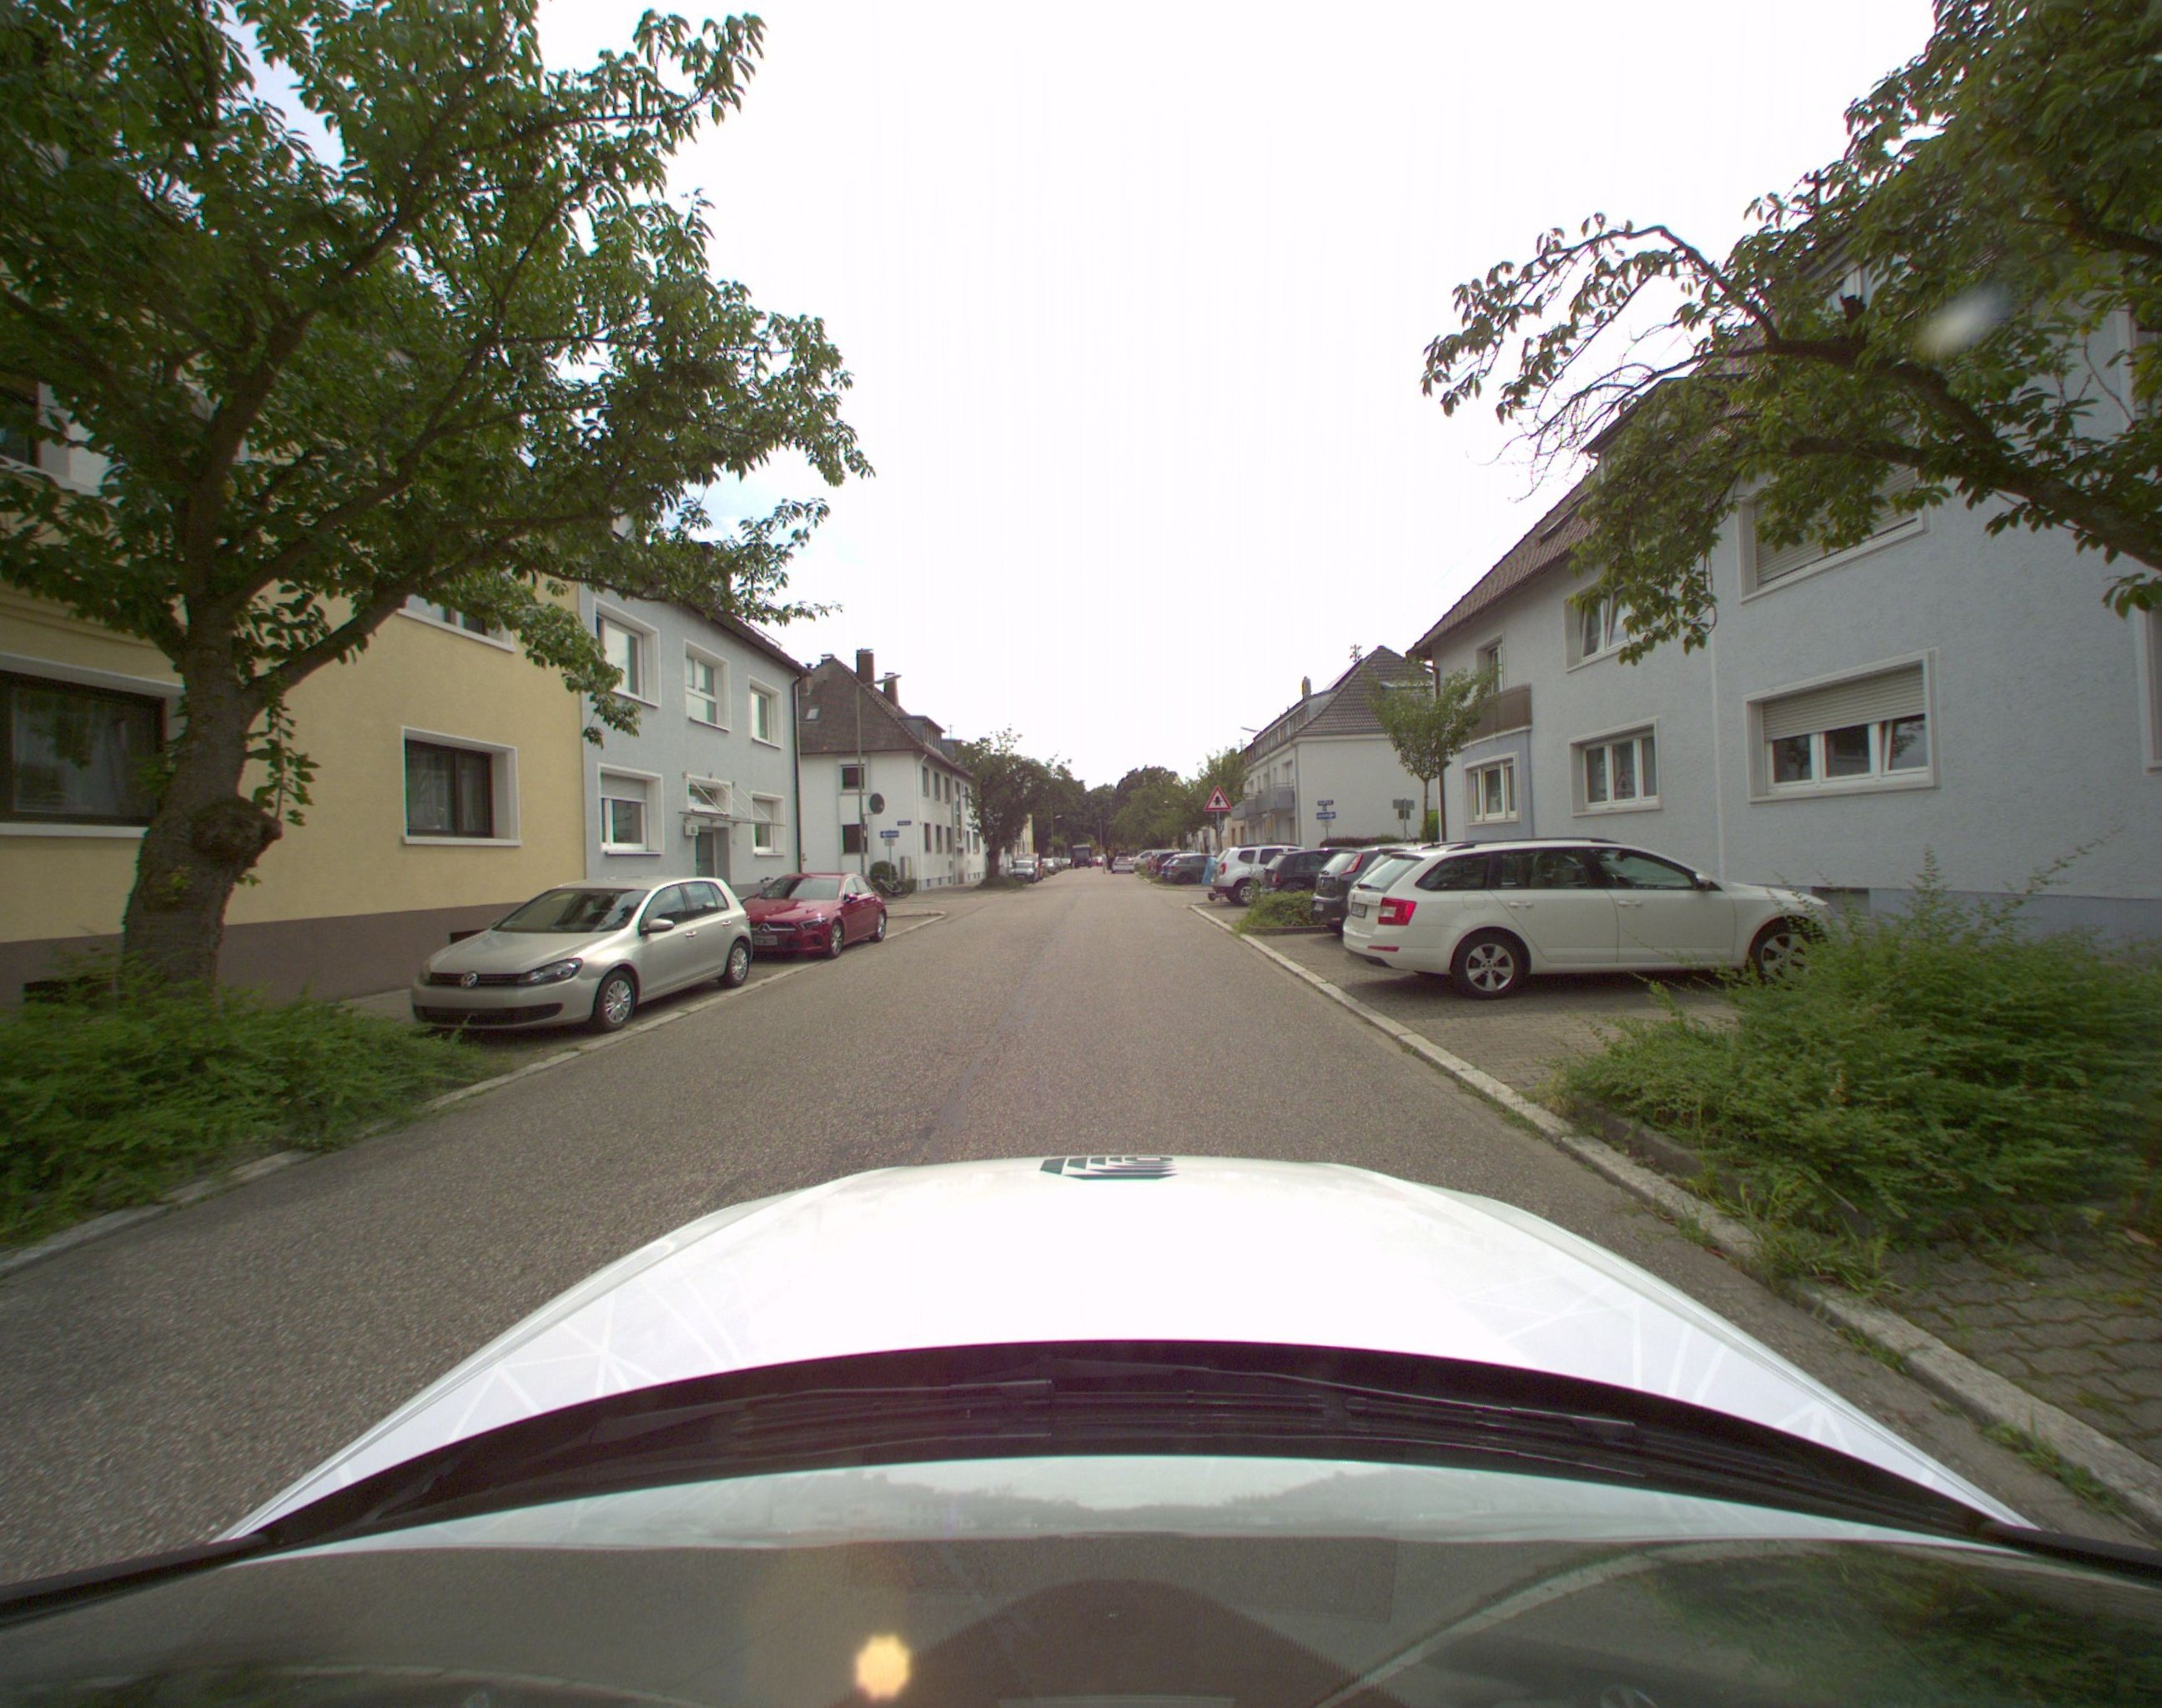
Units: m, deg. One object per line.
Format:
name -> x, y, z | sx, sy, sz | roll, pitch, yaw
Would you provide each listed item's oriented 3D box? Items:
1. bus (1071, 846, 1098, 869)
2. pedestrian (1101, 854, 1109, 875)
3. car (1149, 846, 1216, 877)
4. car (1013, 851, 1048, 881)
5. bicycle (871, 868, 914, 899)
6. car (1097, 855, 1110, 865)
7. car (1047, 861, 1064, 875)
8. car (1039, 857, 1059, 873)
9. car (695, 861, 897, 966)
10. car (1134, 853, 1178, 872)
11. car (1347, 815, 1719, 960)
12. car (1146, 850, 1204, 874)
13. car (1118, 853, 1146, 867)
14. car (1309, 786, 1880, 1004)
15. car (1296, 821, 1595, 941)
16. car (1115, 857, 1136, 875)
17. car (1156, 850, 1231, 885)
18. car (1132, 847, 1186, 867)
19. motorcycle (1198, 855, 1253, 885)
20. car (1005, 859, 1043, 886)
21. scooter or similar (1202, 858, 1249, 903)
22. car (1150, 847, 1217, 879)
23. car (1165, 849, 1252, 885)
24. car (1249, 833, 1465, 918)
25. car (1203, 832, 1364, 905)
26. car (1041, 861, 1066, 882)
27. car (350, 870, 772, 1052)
bus -> 0.534, 0.438, 109.942 | 2.992, 2.761, 8.930 | -4, 0, 3
pedestrian -> 2.065, 0.907, 69.395 | 0.519, 1.704, 0.445 | -4, -1, 5
car -> 6.308, 0.488, 51.086 | 3.971, 1.618, 1.868 | -4, 0, 2
car -> -3.593, 0.859, 58.563 | 1.986, 2.013, 4.522 | -2, 0, 1
bicycle -> -7.937, 1.221, 34.258 | 1.629, 1.179, 0.435 | -4, -1, -3
car -> 3.239, 0.887, 117.064 | 1.747, 1.342, 4.003 | -3, 0, 3
car -> -2.512, 1.359, 81.202 | 1.534, 1.301, 3.720 | -4, 0, 0
car -> -2.996, 1.021, 76.151 | 1.646, 1.377, 3.720 | -4, 0, 0
car -> -4.952, 0.950, 14.937 | 1.870, 1.486, 4.514 | -4, 0, 2
car -> 6.989, 0.805, 76.139 | 3.972, 1.518, 1.723 | -4, 0, 1
car -> 5.880, 0.419, 10.967 | 3.972, 1.508, 1.713 | -4, 0, 1
car -> 6.809, 0.577, 59.228 | 3.972, 1.438, 1.723 | -4, 0, 1
car -> 6.754, 0.817, 107.359 | 3.515, 1.602, 1.774 | -4, 0, 2
car -> 4.944, 0.386, 8.416 | 4.596, 1.664, 1.894 | -4, 0, 2
car -> 5.692, 0.407, 13.092 | 3.972, 1.508, 1.713 | -4, 0, 1
car -> 3.848, 1.025, 70.113 | 1.680, 1.354, 3.829 | -4, 0, 3
car -> 5.573, 0.661, 40.619 | 3.504, 1.412, 1.559 | -4, 0, 2
car -> 7.484, 0.278, 78.335 | 4.959, 1.518, 1.768 | -4, 0, 0
motorcycle -> 6.290, 0.677, 35.525 | 2.186, 1.210, 0.939 | -2, 0, -1
car -> -3.687, 1.157, 53.103 | 1.755, 1.554, 3.736 | -4, 0, 5
scooter or similar -> 4.391, 0.796, 24.739 | 1.239, 1.243, 0.420 | -4, -1, -11
car -> 6.056, 0.513, 48.336 | 3.732, 1.564, 1.774 | -4, 0, 2
car -> 5.891, 0.582, 37.949 | 3.732, 1.365, 1.774 | -4, 0, 2
car -> 5.790, 0.441, 17.434 | 3.972, 1.421, 1.713 | -4, 0, 1
car -> 5.455, 0.392, 22.365 | 3.908, 1.633, 1.869 | -4, 0, 2
car -> -2.193, 1.371, 65.201 | 1.645, 1.461, 3.553 | -4, 0, 1
car -> -5.309, 0.959, 9.167 | 1.764, 1.392, 4.278 | 3, 0, 3
